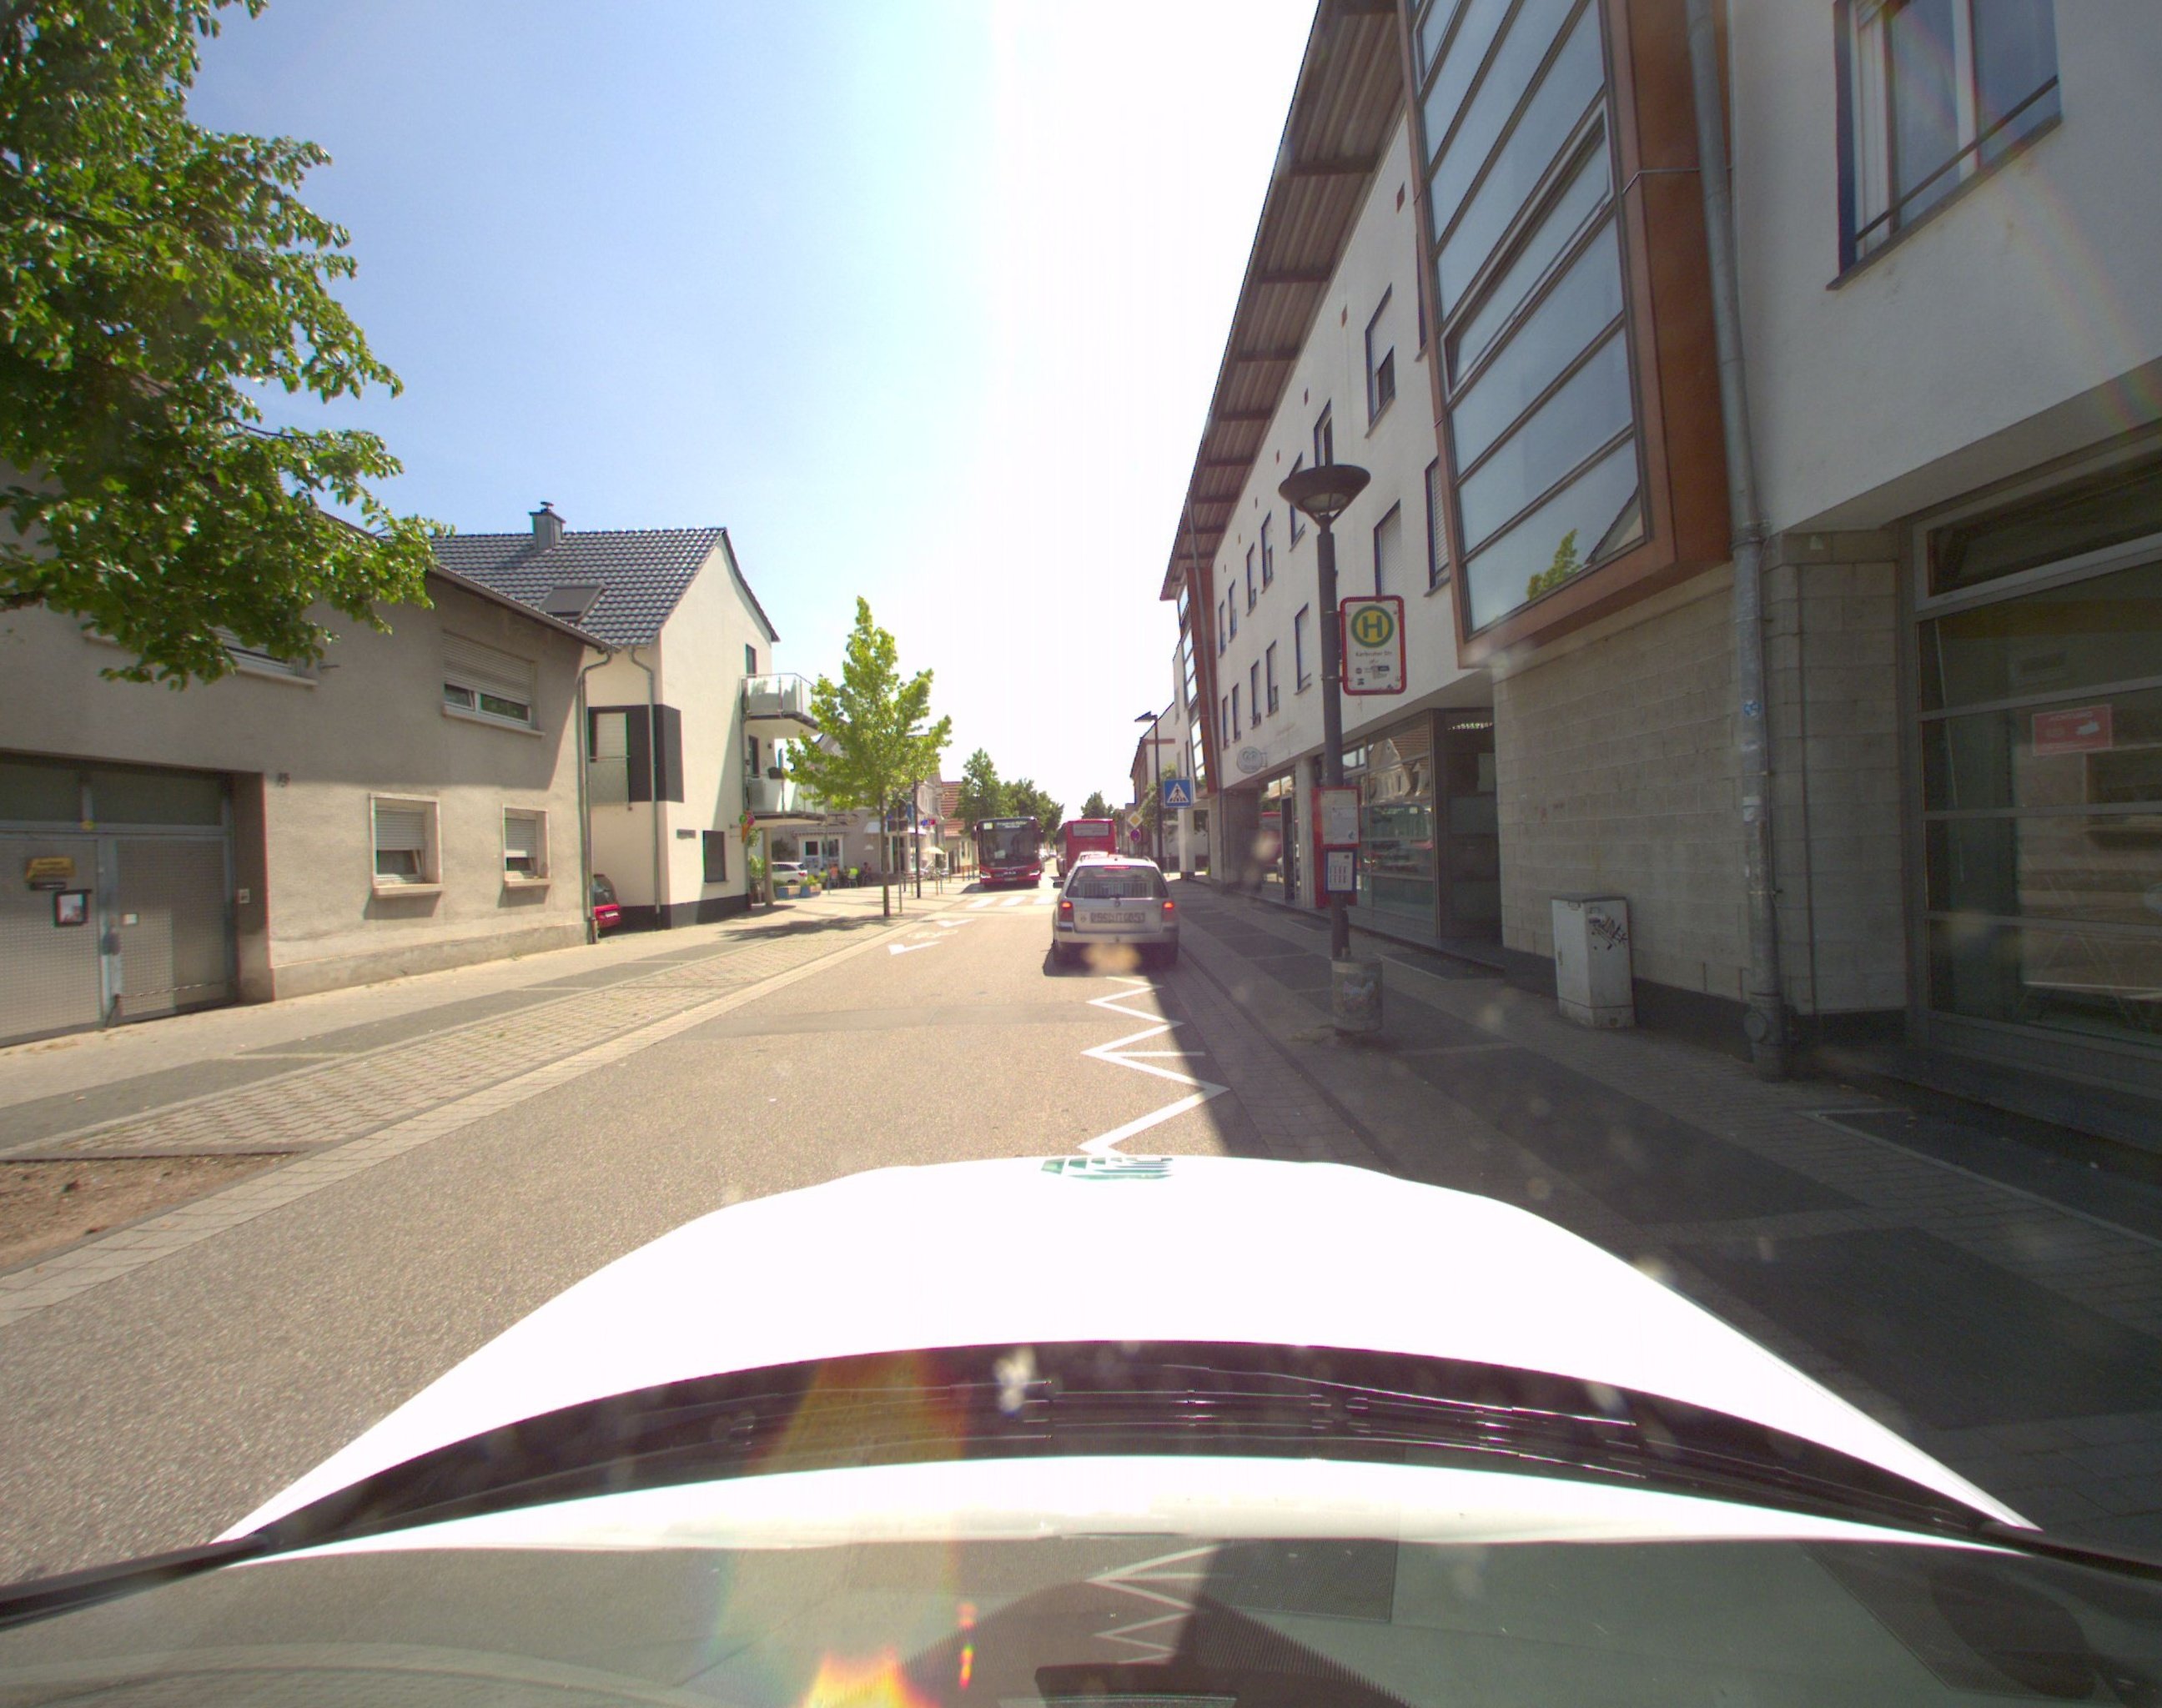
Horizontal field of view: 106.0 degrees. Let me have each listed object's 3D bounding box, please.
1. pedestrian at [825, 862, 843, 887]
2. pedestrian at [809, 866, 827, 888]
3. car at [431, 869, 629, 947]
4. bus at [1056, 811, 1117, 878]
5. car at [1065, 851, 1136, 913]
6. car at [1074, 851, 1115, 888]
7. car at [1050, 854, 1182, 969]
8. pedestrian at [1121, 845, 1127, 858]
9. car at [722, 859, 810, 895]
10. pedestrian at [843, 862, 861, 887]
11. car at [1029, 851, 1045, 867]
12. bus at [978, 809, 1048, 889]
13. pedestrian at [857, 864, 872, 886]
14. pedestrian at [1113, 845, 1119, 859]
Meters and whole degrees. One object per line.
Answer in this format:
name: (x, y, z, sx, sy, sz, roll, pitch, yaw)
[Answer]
pedestrian: (-13.152, 1.101, 43.411, 0.639, 1.289, 0.780, 1, -1, -43)
pedestrian: (-13.802, 1.207, 42.774, 0.639, 1.116, 0.780, 1, 0, -43)
car: (-11.829, 1.130, 17.644, 3.109, 1.443, 1.584, -2, 0, -5)
bus: (0.080, -0.453, 47.065, 2.734, 3.298, 12.690, -2, 0, -3)
car: (0.487, 0.662, 21.453, 1.671, 1.430, 3.679, -2, 0, 0)
car: (0.570, 0.616, 34.074, 1.588, 1.430, 3.680, -1, 0, 1)
car: (0.453, 0.727, 12.153, 1.671, 1.430, 3.679, 0, 0, 0)
pedestrian: (5.458, -0.303, 103.371, 0.604, 1.667, 0.789, -2, 0, -1)
car: (-15.788, 1.136, 40.972, 3.925, 1.545, 1.510, -2, 2, -17)
pedestrian: (-12.152, 1.078, 43.221, 0.639, 1.289, 0.780, 1, -1, -43)
car: (-6.105, 0.676, 113.210, 1.805, 1.995, 4.000, -2, 0, 0)
bus: (-3.714, -0.196, 42.047, 2.666, 3.123, 17.767, -3, 0, -6)
pedestrian: (-11.826, 1.131, 44.401, 0.620, 1.179, 0.695, -2, 0, -4)
pedestrian: (4.469, -0.246, 104.306, 0.604, 1.667, 0.789, -2, 0, -1)
